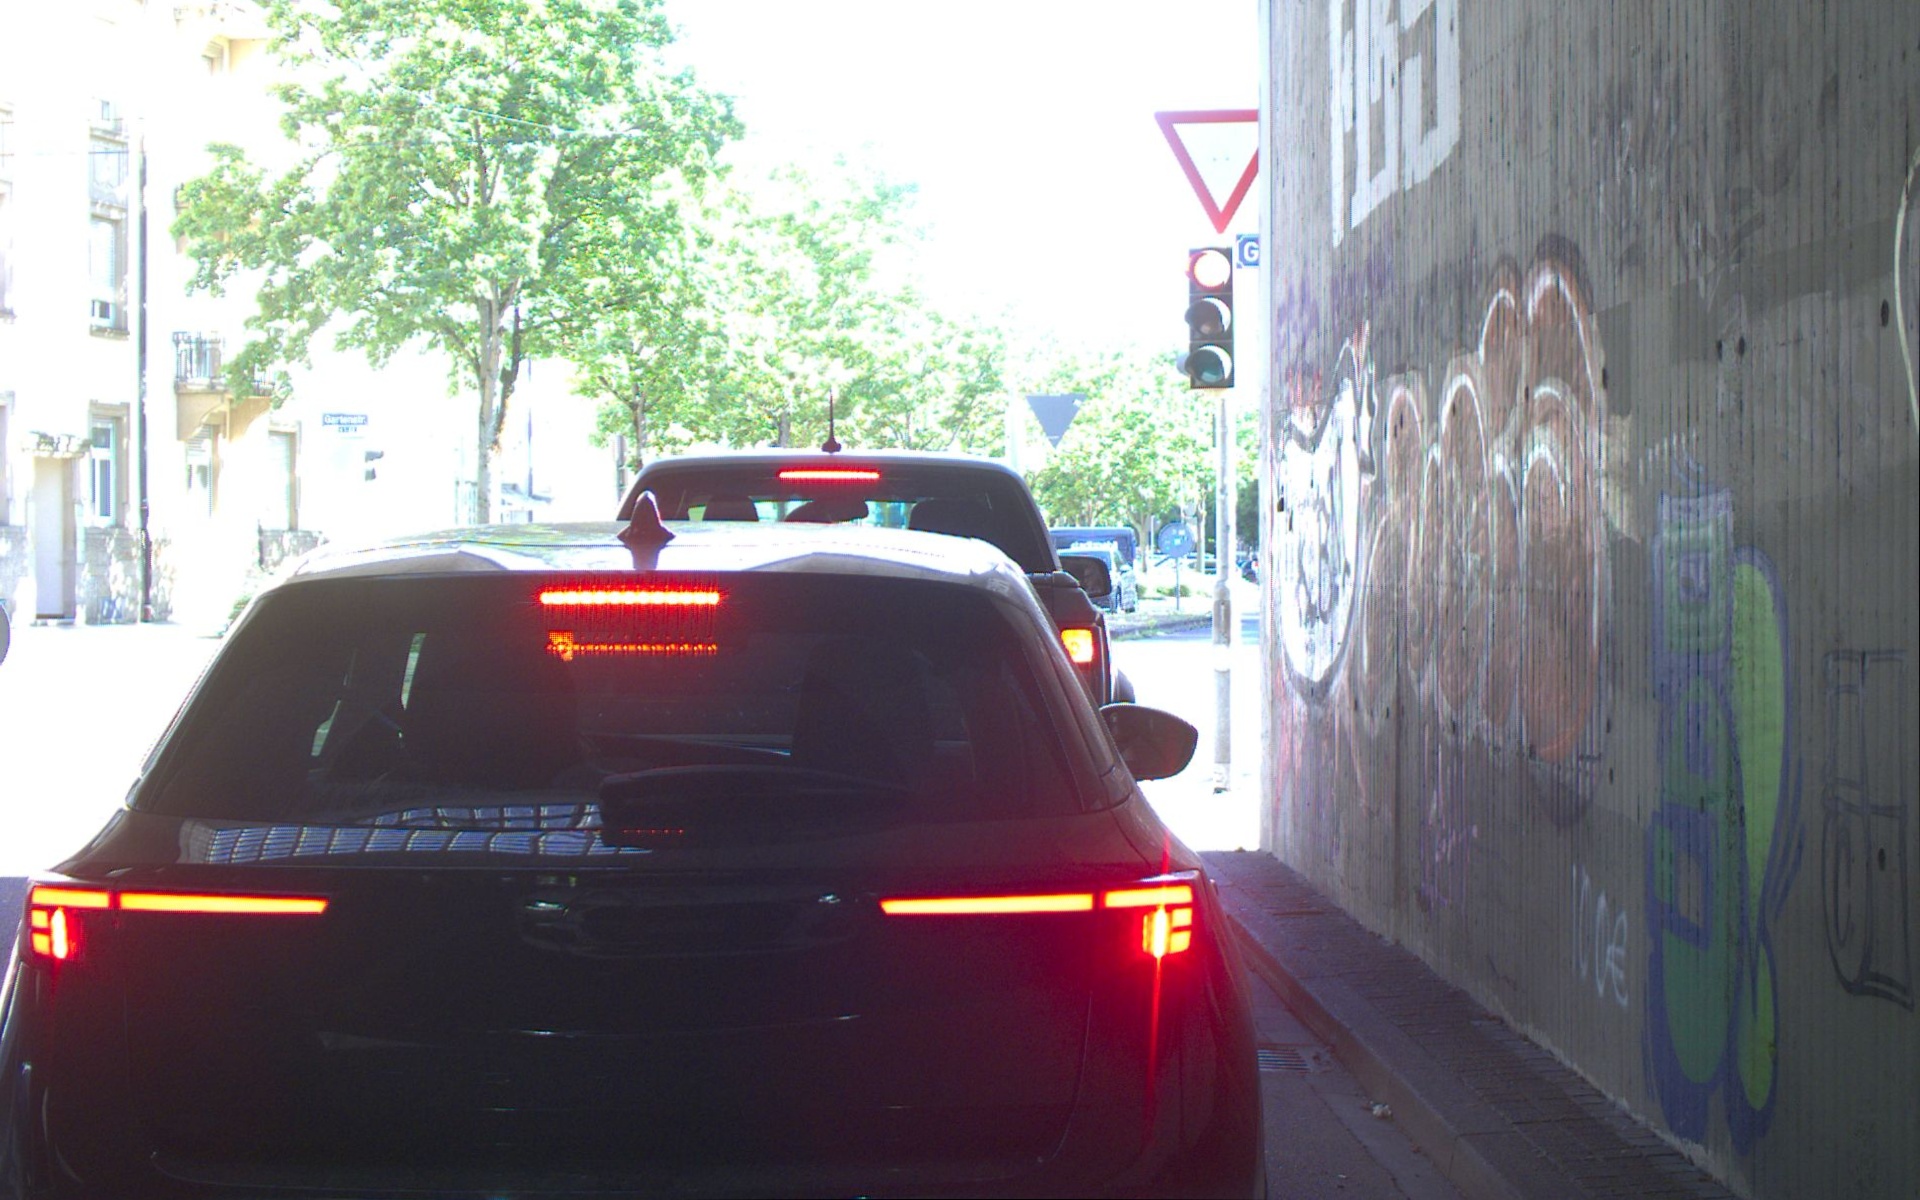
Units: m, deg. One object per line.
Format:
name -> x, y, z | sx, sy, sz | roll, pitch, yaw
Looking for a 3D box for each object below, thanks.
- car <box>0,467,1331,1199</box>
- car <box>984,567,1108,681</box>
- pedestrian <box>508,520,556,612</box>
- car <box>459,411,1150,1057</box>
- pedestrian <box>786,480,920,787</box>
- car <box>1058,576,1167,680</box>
car -> -0.487, 0.567, 5.998 | 1.764, 1.566, 4.001 | 1, 2, -1
car -> 1.593, 0.409, 62.305 | 1.994, 1.963, 4.163 | 1, 1, 5
pedestrian -> -9.803, -0.783, 78.772 | 0.892, 2.080, 0.808 | 1, 0, 7
car -> -0.471, 0.351, 11.990 | 1.993, 1.865, 4.000 | 0, 1, -1
pedestrian -> -0.610, 0.185, 19.850 | 0.731, 1.728, 0.874 | 1, 0, -1
car -> 3.064, 0.523, 68.424 | 1.994, 1.963, 4.163 | 1, 1, 5
